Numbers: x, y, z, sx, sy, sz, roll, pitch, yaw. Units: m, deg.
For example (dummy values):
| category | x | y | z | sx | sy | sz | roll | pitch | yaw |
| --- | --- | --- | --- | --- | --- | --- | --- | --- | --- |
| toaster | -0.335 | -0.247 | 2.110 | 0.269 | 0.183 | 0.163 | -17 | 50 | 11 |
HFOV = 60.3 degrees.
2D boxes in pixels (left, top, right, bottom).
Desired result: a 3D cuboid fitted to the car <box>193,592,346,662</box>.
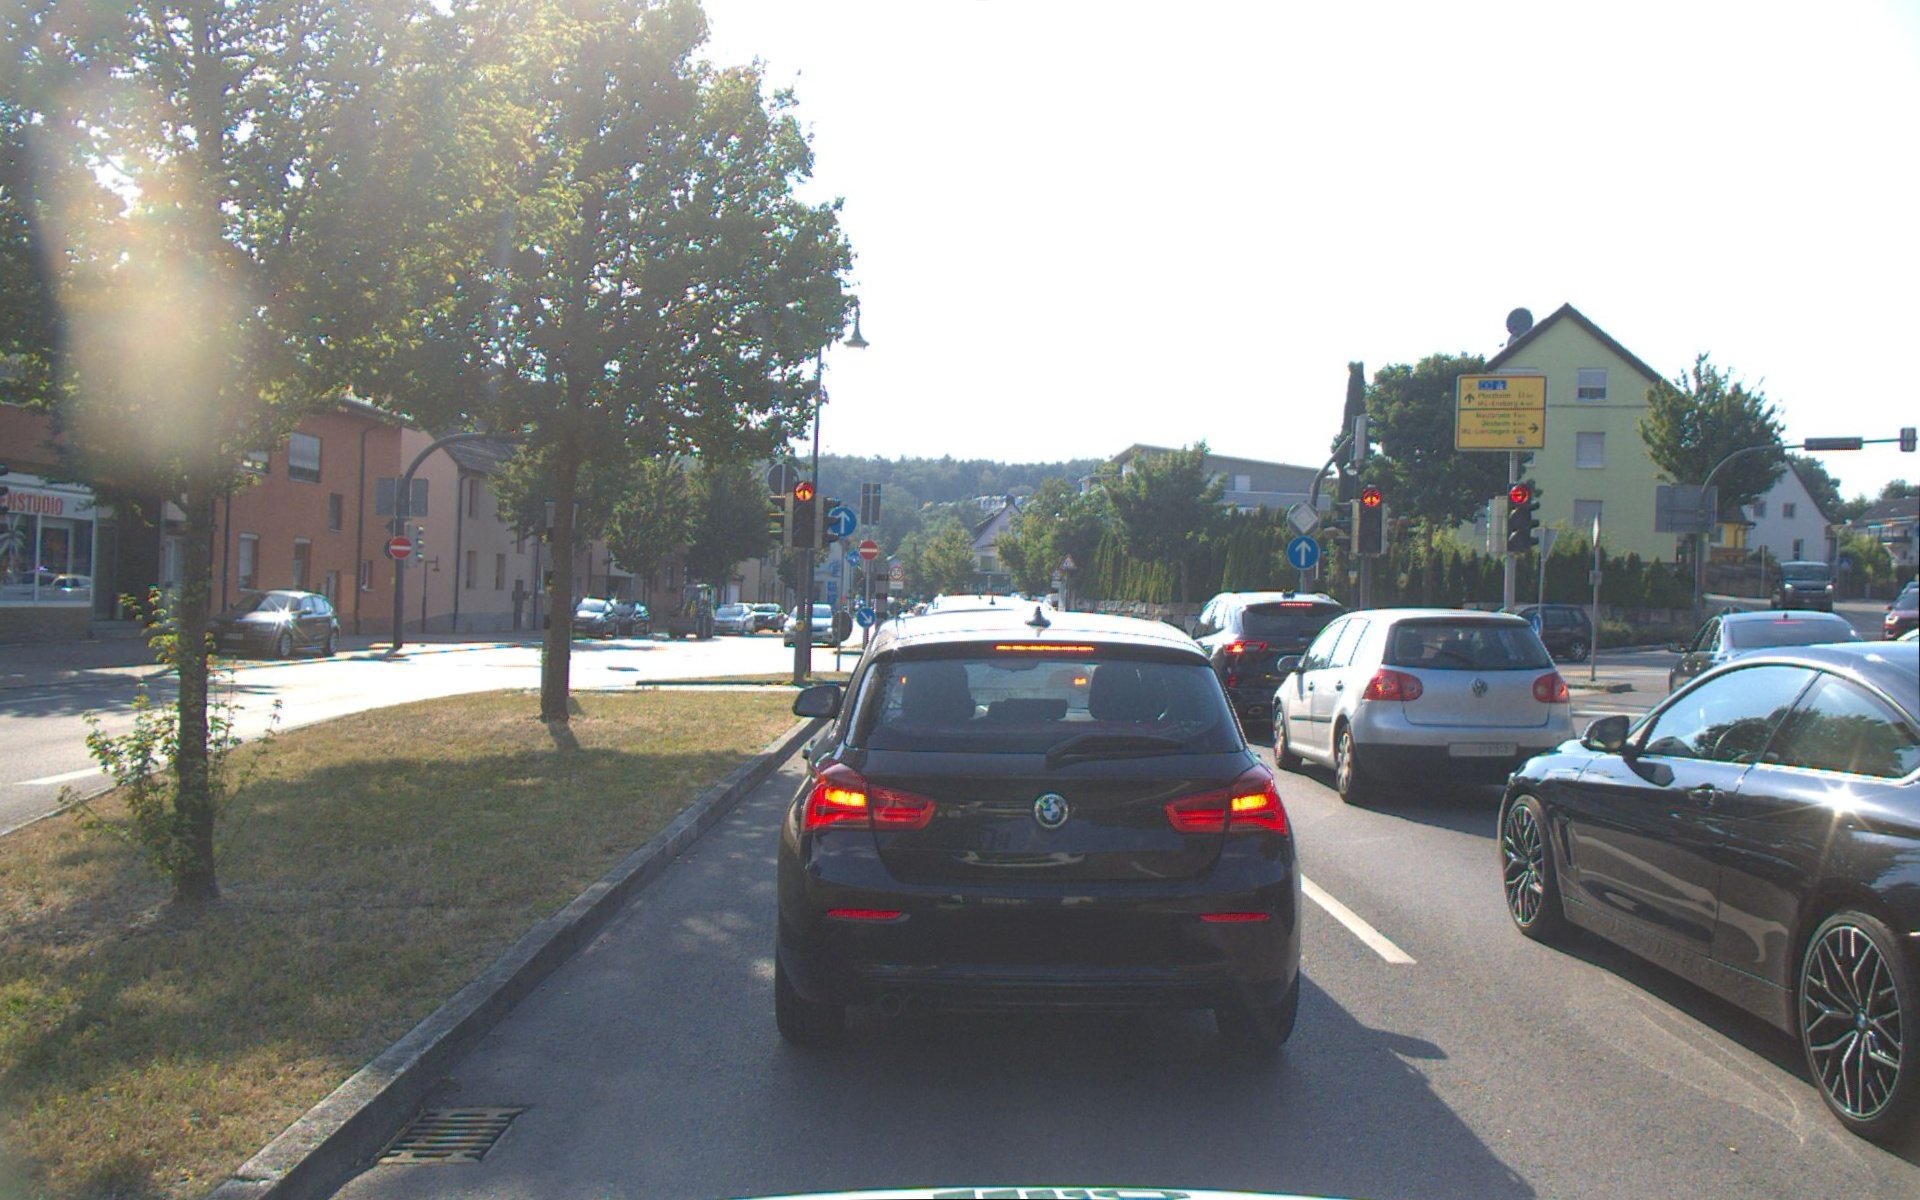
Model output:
| category | x | y | z | sx | sy | sz | roll | pitch | yaw |
| --- | --- | --- | --- | --- | --- | --- | --- | --- | --- |
| car | -15.482 | 0.572 | 37.291 | 1.702 | 1.323 | 3.999 | 5 | 0 | -1 |

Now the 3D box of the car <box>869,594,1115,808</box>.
| category | x | y | z | sx | sy | sz | roll | pitch | yaw |
| --- | --- | --- | --- | --- | --- | --- | --- | --- | --- |
| car | 0.225 | 0.716 | 13.981 | 1.751 | 1.520 | 4.280 | -1 | 0 | 0 |

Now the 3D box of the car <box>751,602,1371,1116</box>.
| category | x | y | z | sx | sy | sz | roll | pitch | yaw |
| --- | --- | --- | --- | --- | --- | --- | --- | --- | --- |
| car | 0.284 | 0.735 | 6.836 | 1.751 | 1.422 | 4.280 | -1 | 0 | 0 |

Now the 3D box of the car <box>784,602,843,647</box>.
| category | x | y | z | sx | sy | sz | roll | pitch | yaw |
| --- | --- | --- | --- | --- | --- | --- | --- | --- | --- |
| car | -5.173 | 0.860 | 58.861 | 1.801 | 1.508 | 3.999 | 1 | 0 | -1 |

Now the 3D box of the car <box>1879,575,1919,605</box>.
| category | x | y | z | sx | sy | sz | roll | pitch | yaw |
| --- | --- | --- | --- | --- | --- | --- | --- | --- | --- |
| car | 54.273 | -0.548 | 95.311 | 1.931 | 1.709 | 4.200 | 0 | 0 | 35 |

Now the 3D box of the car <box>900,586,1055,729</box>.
| category | x | y | z | sx | sy | sz | roll | pitch | yaw |
| --- | --- | --- | --- | --- | --- | --- | --- | --- | --- |
| car | 0.196 | 0.649 | 21.022 | 1.751 | 1.622 | 4.280 | -1 | 0 | 0 |

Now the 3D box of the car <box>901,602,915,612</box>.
| category | x | y | z | sx | sy | sz | roll | pitch | yaw |
| --- | --- | --- | --- | --- | --- | --- | --- | --- | --- |
| car | -7.833 | 1.040 | 247.464 | 1.701 | 1.323 | 3.800 | 5 | 0 | 2 |

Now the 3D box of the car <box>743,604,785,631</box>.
| category | x | y | z | sx | sy | sz | roll | pitch | yaw |
| --- | --- | --- | --- | --- | --- | --- | --- | --- | --- |
| car | -11.247 | 1.002 | 94.958 | 1.701 | 1.323 | 3.800 | 5 | 0 | 2 |

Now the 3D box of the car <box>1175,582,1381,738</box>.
| category | x | y | z | sx | sy | sz | roll | pitch | yaw |
| --- | --- | --- | --- | --- | --- | --- | --- | --- | --- |
| car | 3.734 | 0.650 | 20.055 | 1.725 | 1.685 | 3.902 | -1 | 0 | 0 |

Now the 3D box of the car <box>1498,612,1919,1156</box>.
| category | x | y | z | sx | sy | sz | roll | pitch | yaw |
| --- | --- | --- | --- | --- | --- | --- | --- | --- | --- |
| car | 3.459 | 0.786 | 5.816 | 1.725 | 1.422 | 4.280 | -1 | 0 | 0 |

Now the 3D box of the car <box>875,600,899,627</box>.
| category | x | y | z | sx | sy | sz | roll | pitch | yaw |
| --- | --- | --- | --- | --- | --- | --- | --- | --- | --- |
| car | -6.807 | 1.279 | 154.507 | 2.042 | 2.435 | 5.527 | 1 | 0 | -1 |

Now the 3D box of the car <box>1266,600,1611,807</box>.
| category | x | y | z | sx | sy | sz | roll | pitch | yaw |
| --- | --- | --- | --- | --- | --- | --- | --- | --- | --- |
| car | 3.781 | 0.741 | 13.773 | 1.725 | 1.451 | 3.902 | -1 | 0 | 0 |

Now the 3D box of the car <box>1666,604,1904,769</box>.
| category | x | y | z | sx | sy | sz | roll | pitch | yaw |
| --- | --- | --- | --- | --- | --- | --- | --- | --- | --- |
| car | 9.034 | 0.855 | 18.457 | 1.621 | 1.569 | 4.401 | -1 | 0 | 17 |

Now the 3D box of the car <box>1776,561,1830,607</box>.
| category | x | y | z | sx | sy | sz | roll | pitch | yaw |
| --- | --- | --- | --- | --- | --- | --- | --- | --- | --- |
| car | 33.886 | -0.605 | 66.582 | 1.806 | 1.770 | 4.780 | 1 | 0 | 26 |

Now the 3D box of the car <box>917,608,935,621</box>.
| category | x | y | z | sx | sy | sz | roll | pitch | yaw |
| --- | --- | --- | --- | --- | --- | --- | --- | --- | --- |
| car | -3.850 | 1.620 | 188.021 | 1.701 | 1.323 | 3.800 | 5 | 0 | 2 |

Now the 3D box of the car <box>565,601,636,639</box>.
| category | x | y | z | sx | sy | sz | roll | pitch | yaw |
| --- | --- | --- | --- | --- | --- | --- | --- | --- | --- |
| car | -14.507 | 0.806 | 66.905 | 1.701 | 1.323 | 4.001 | 5 | 0 | 3 |

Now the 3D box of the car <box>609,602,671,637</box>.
| category | x | y | z | sx | sy | sz | roll | pitch | yaw |
| --- | --- | --- | --- | --- | --- | --- | --- | --- | --- |
| car | -14.114 | 0.839 | 73.186 | 1.701 | 1.323 | 4.001 | 5 | 0 | 2 |

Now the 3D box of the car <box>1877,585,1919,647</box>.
| category | x | y | z | sx | sy | sz | roll | pitch | yaw |
| --- | --- | --- | --- | --- | --- | --- | --- | --- | --- |
| car | 27.323 | 0.443 | 46.630 | 1.814 | 1.670 | 4.408 | 1 | 0 | 39 |

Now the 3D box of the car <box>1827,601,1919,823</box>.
| category | x | y | z | sx | sy | sz | roll | pitch | yaw |
| --- | --- | --- | --- | --- | --- | --- | --- | --- | --- |
| car | 7.610 | 0.800 | 11.625 | 1.583 | 1.569 | 3.320 | -1 | 0 | 6 |

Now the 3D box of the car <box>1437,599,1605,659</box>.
| category | x | y | z | sx | sy | sz | roll | pitch | yaw |
| --- | --- | --- | --- | --- | --- | --- | --- | --- | --- |
| car | 15.159 | 0.768 | 44.831 | 3.907 | 1.515 | 1.847 | 1 | 0 | -3 |

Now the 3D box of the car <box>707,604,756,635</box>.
| category | x | y | z | sx | sy | sz | roll | pitch | yaw |
| --- | --- | --- | --- | --- | --- | --- | --- | --- | --- |
| car | -11.384 | 0.968 | 82.641 | 1.701 | 1.323 | 3.800 | 5 | 0 | 2 |

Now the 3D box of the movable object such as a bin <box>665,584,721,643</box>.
| category | x | y | z | sx | sy | sz | roll | pitch | yaw |
| --- | --- | --- | --- | --- | --- | --- | --- | --- | --- |
| movable object such as a bin | -11.672 | 0.563 | 72.478 | 1.701 | 2.485 | 4.449 | 0 | 0 | 0 |
